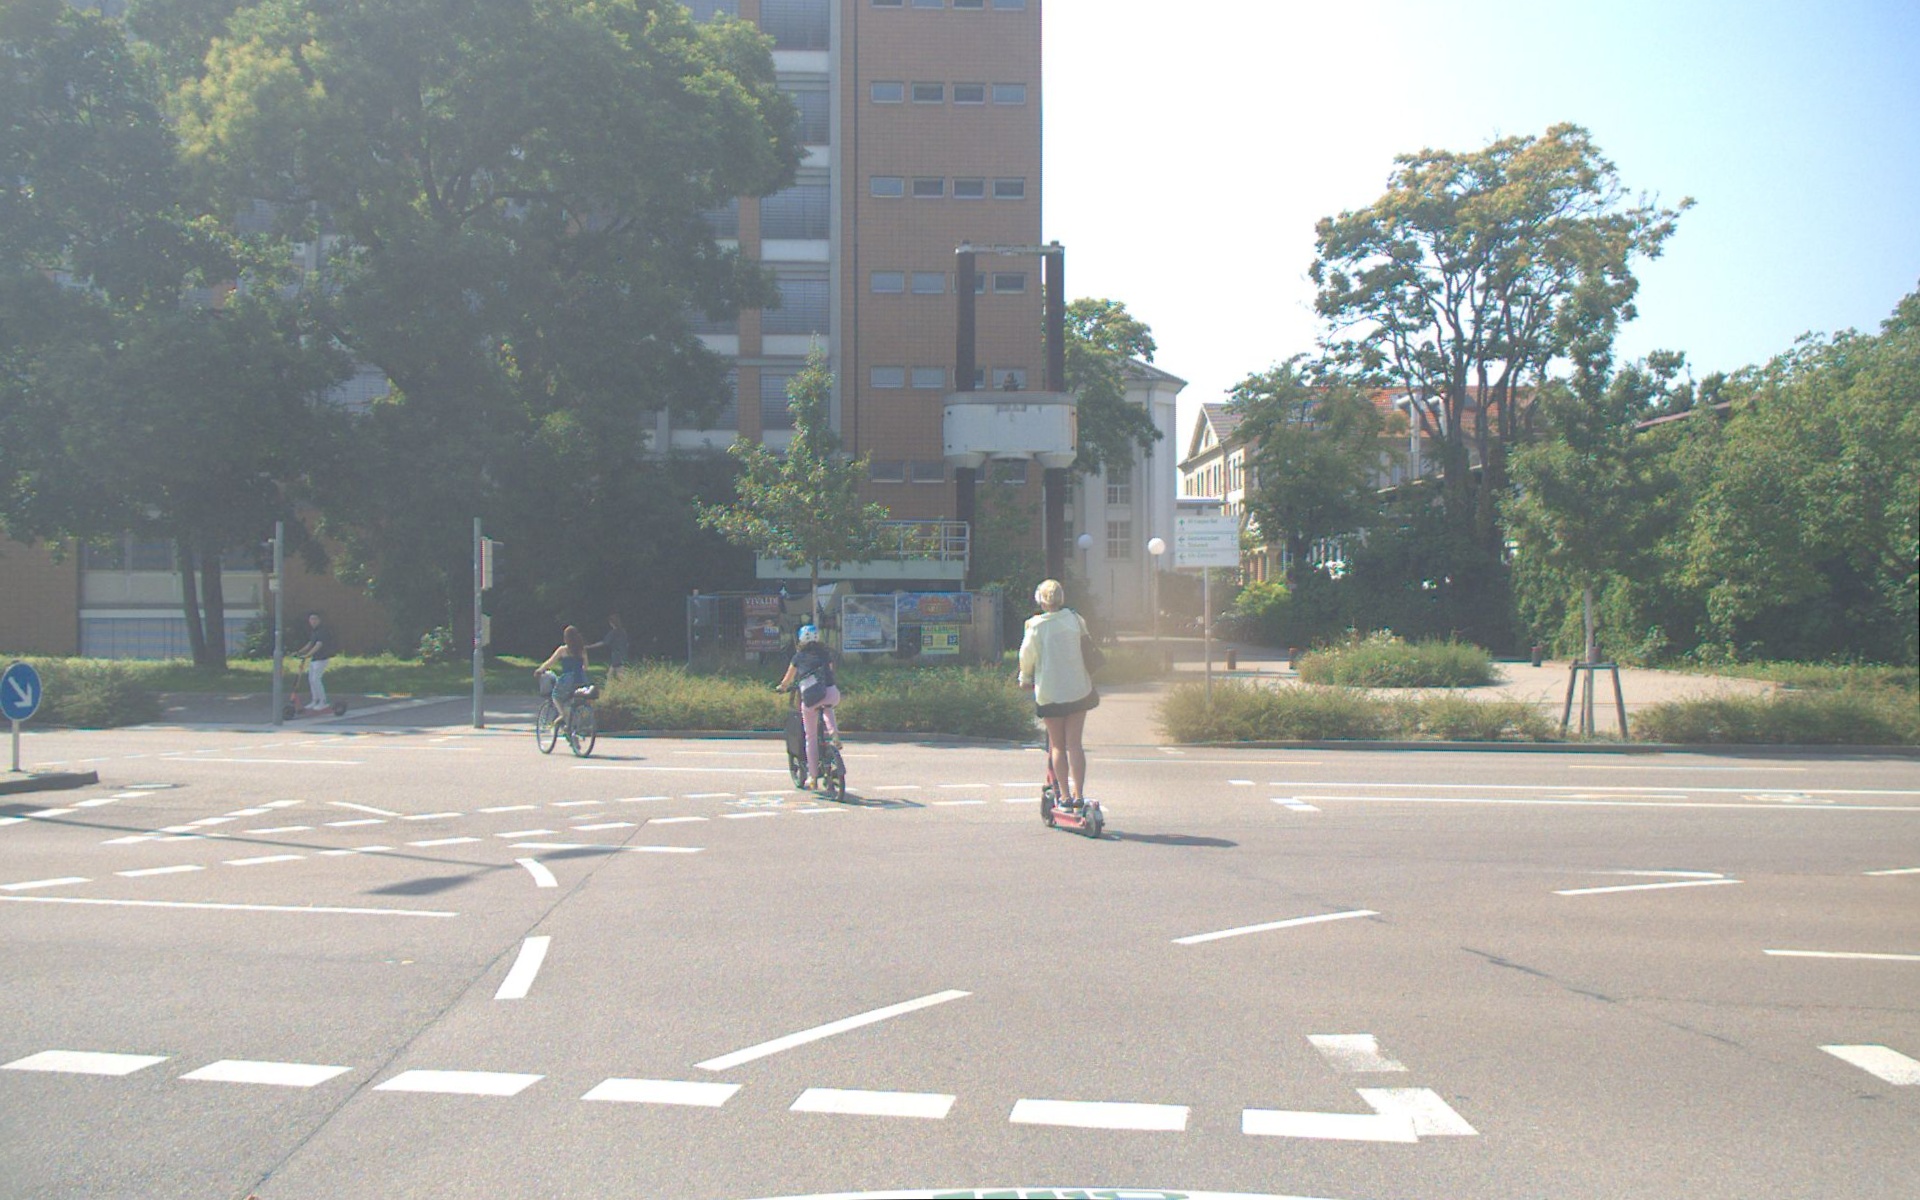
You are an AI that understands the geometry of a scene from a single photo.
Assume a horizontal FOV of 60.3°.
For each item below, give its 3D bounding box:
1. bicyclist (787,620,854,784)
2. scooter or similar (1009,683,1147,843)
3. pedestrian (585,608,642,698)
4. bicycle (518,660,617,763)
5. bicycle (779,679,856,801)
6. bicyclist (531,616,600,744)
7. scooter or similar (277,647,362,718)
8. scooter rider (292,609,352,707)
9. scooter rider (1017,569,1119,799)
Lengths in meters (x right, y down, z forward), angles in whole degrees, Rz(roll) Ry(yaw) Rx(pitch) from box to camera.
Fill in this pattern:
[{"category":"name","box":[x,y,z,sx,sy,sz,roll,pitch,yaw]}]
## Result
[{"category":"bicyclist","box":[-1.338,0.962,15.784,0.539,1.522,0.801,1,-2,-11]},{"category":"scooter or similar","box":[0.865,1.201,12.679,0.546,1.079,1.998,0,-2,-11]},{"category":"pedestrian","box":[-6.897,1.048,32.916,0.857,1.734,0.708,-1,1,16]},{"category":"bicycle","box":[-5.279,1.452,22.139,0.686,1.175,2.348,-1,1,-29]},{"category":"bicycle","box":[-1.415,1.331,16.181,0.546,1.079,1.998,1,-2,-11]},{"category":"bicyclist","box":[-5.285,1.052,22.129,0.683,1.626,0.836,-2,2,-29]},{"category":"scooter or similar","box":[-11.817,1.508,30.540,0.574,1.256,1.361,-1,0,39]},{"category":"scooter rider","box":[-11.770,1.053,30.519,0.676,1.770,0.801,-1,-1,40]},{"category":"scooter rider","box":[0.828,0.635,12.804,0.658,1.729,0.537,0,-1,-11]}]
